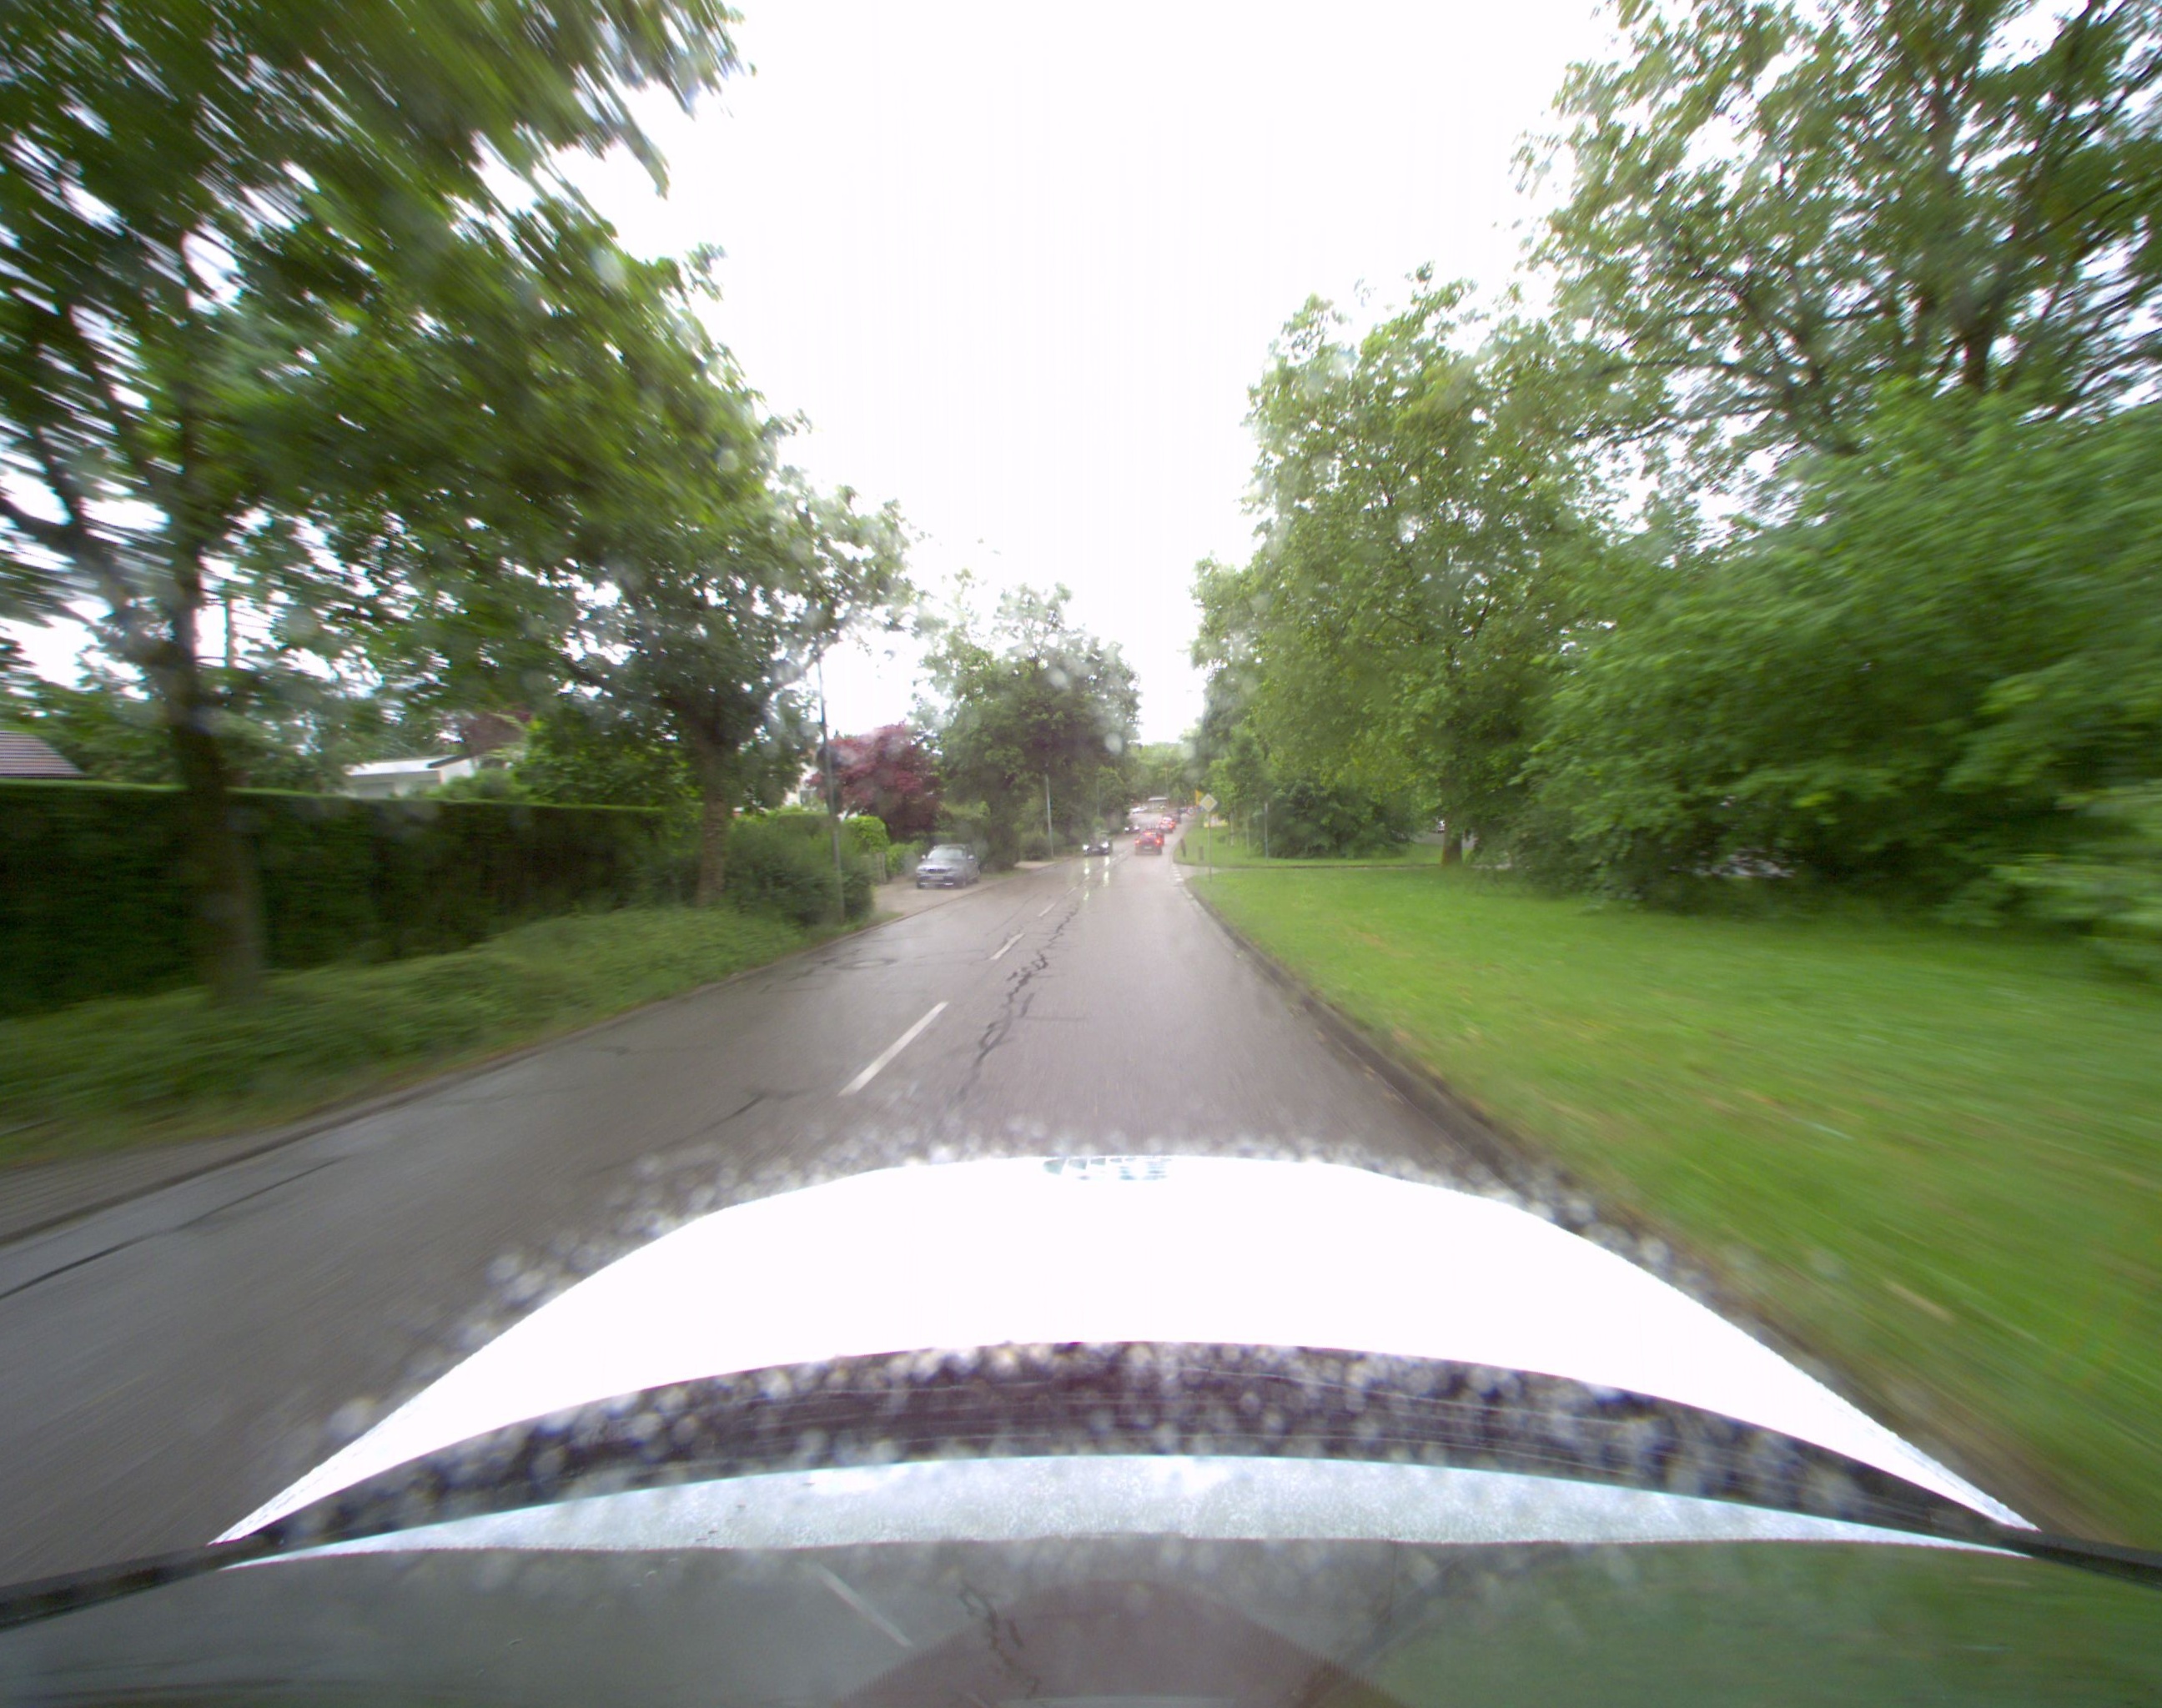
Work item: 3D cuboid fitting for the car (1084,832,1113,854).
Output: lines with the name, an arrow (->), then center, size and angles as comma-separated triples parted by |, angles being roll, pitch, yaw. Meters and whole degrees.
car -> 1.287, -0.805, 58.119 | 1.682, 1.396, 4.497 | -4, 1, 5

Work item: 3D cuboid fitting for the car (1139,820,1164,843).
car -> 6.269, -2.031, 72.278 | 1.845, 1.784, 4.011 | -3, 3, 8

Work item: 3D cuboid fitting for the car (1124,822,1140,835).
car -> 6.807, -3.403, 108.421 | 1.745, 1.362, 4.334 | -4, 3, 6

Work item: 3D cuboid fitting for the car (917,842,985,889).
car -> -4.828, 0.366, 30.785 | 1.656, 1.542, 4.289 | 0, 2, 3

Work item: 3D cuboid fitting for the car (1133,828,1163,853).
car -> 4.572, -0.925, 55.153 | 1.788, 1.514, 3.764 | 0, 4, 8

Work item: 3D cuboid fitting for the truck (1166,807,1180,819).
truck -> 17.160, -7.632, 152.209 | 2.404, 2.004, 5.162 | -3, 3, 7

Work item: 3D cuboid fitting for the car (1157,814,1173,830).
car -> 10.899, -4.132, 105.188 | 1.845, 1.784, 4.011 | -3, 3, 8
